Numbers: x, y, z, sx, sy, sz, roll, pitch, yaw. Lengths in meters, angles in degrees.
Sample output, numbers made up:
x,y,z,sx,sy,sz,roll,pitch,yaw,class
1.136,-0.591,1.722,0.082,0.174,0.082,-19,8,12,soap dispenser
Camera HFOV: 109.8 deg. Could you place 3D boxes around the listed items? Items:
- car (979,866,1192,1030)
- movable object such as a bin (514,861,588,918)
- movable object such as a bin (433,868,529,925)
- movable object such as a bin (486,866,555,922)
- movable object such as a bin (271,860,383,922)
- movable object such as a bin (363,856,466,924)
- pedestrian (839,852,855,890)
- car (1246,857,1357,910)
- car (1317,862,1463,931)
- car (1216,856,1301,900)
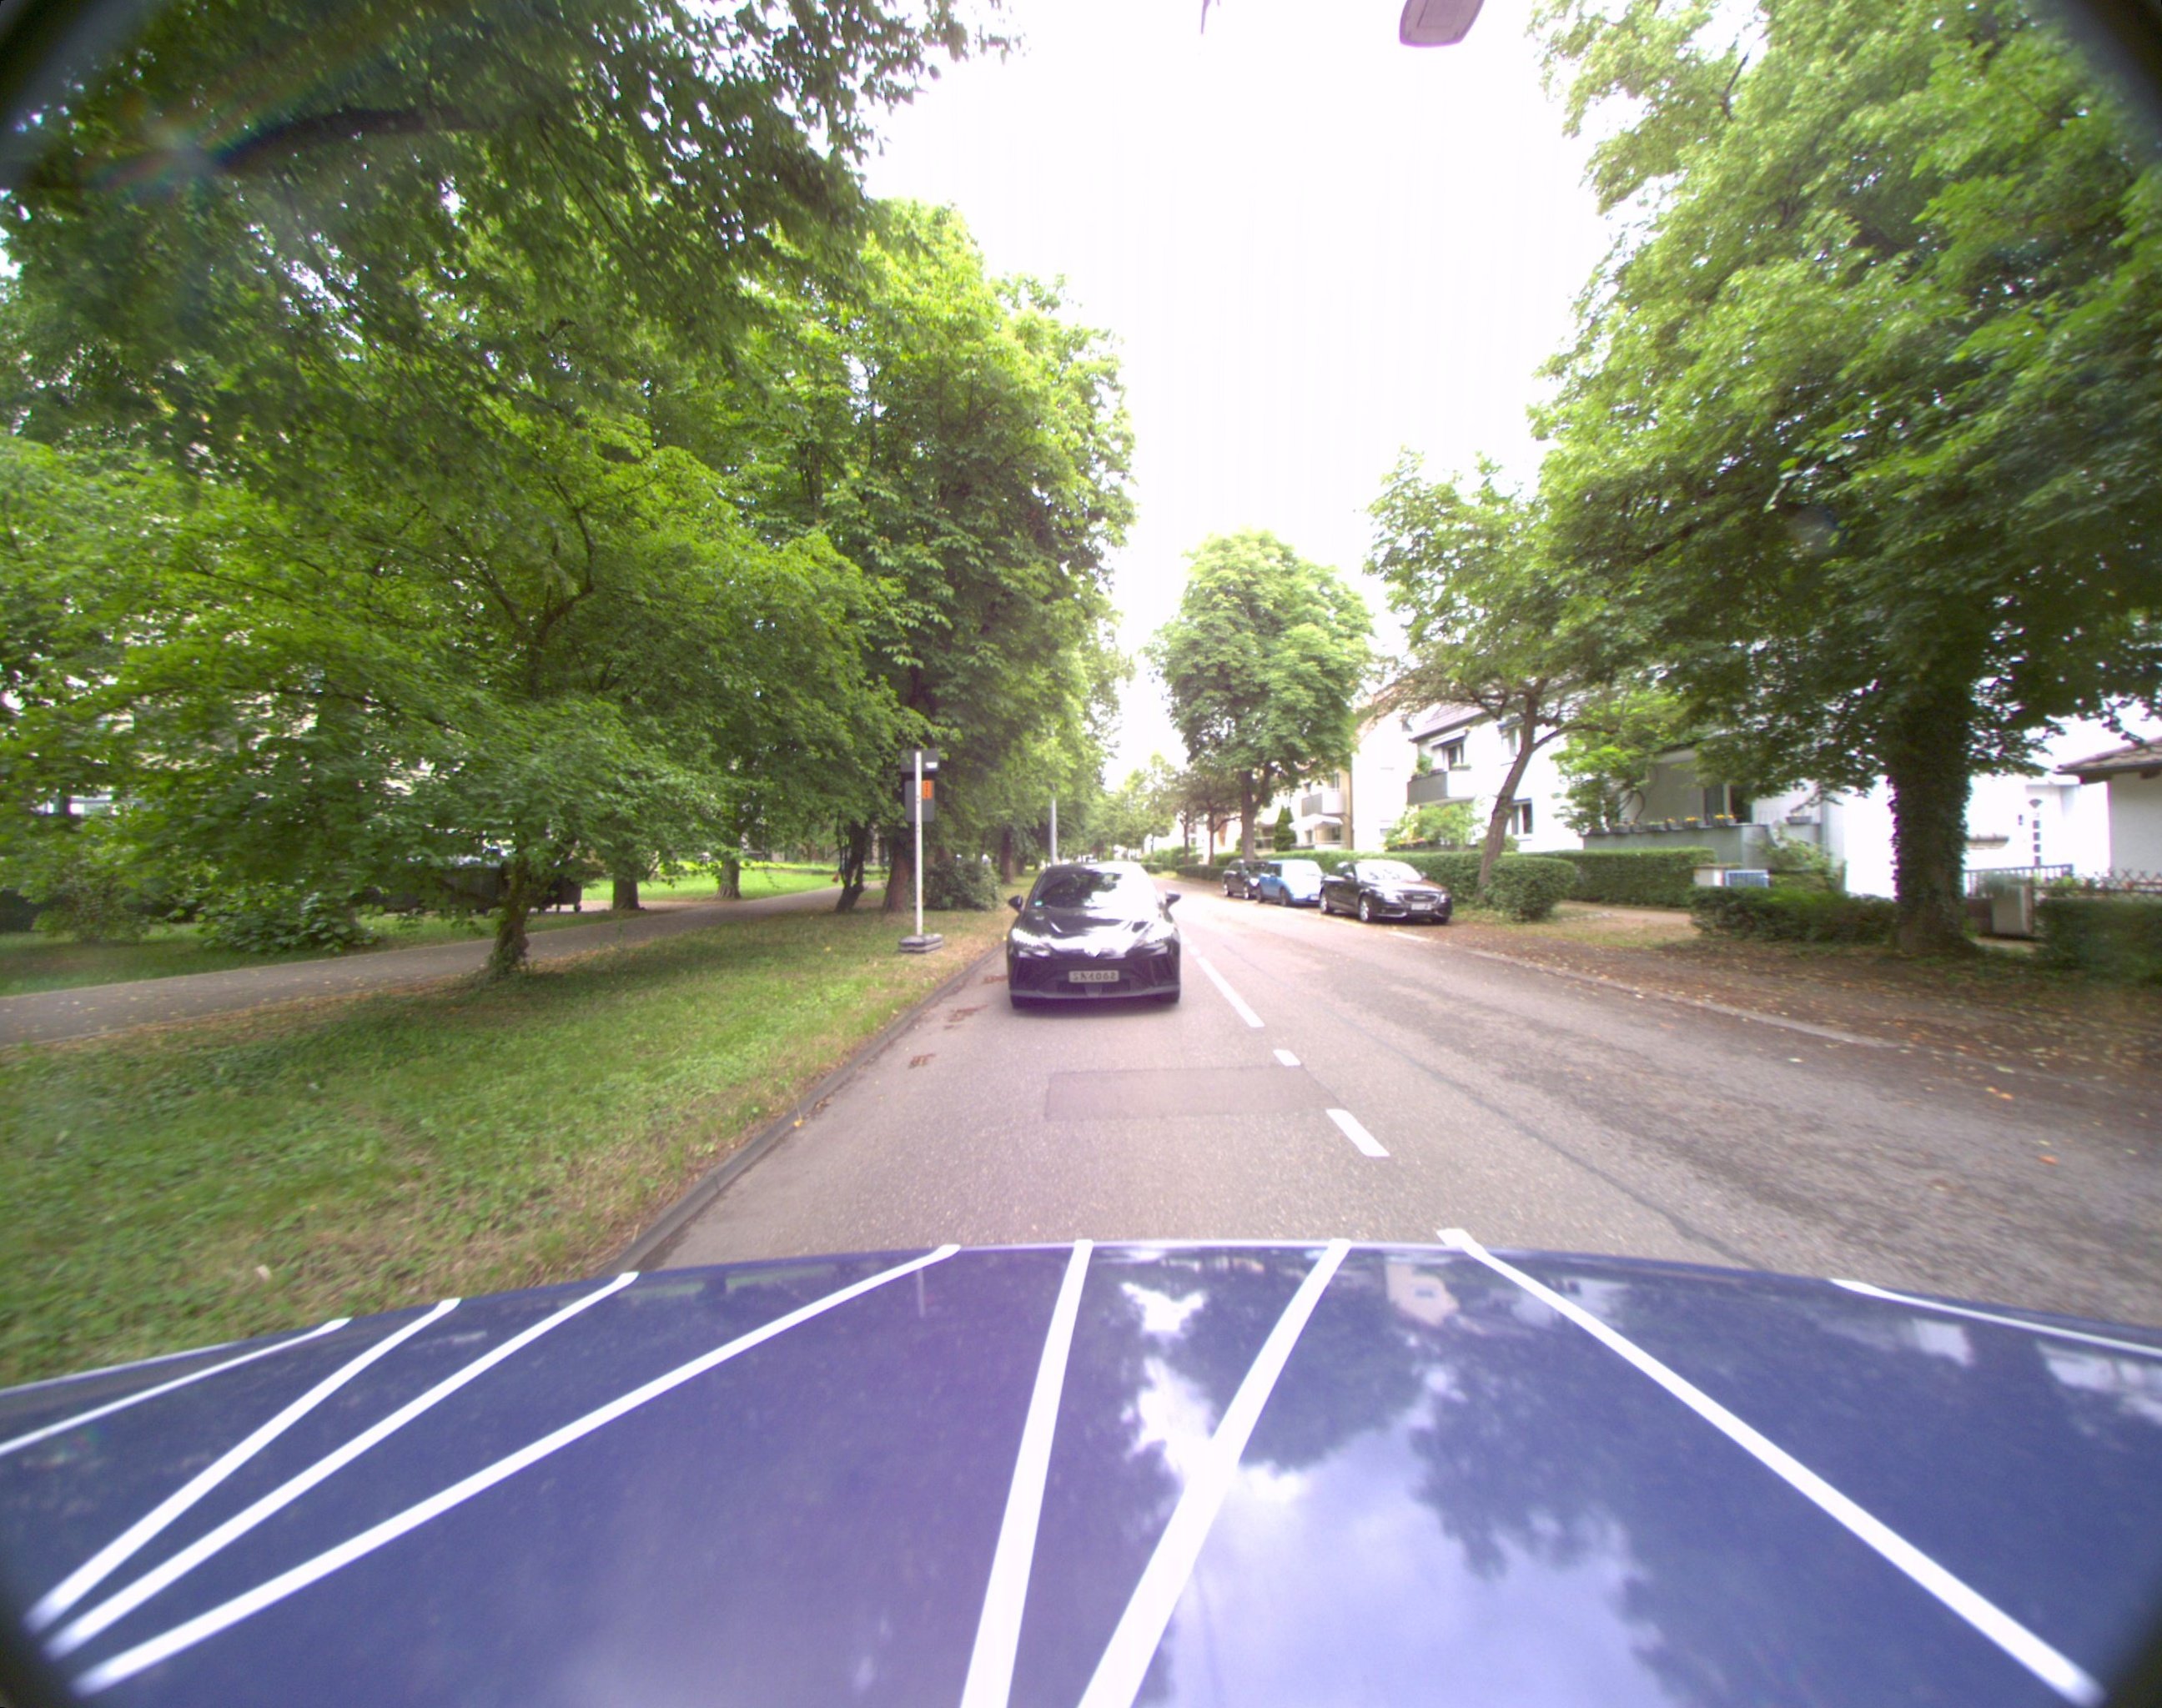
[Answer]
x,y,z,sx,sy,sz,roll,pitch,yaw,class
0.035,0.921,9.446,1.999,1.491,4.615,0,0,0,car
-13.637,0.895,19.591,1.195,1.405,1.110,0,0,-8,movable object such as a bin
-13.615,0.941,17.299,1.195,1.213,1.348,0,0,-8,movable object such as a bin
-13.617,0.957,18.498,1.026,1.296,0.959,0,0,-8,movable object such as a bin
-16.869,0.798,17.055,1.195,1.334,1.348,0,0,-8,movable object such as a bin
-14.928,0.780,17.086,1.195,1.448,1.348,0,0,-8,movable object such as a bin
-10.797,0.774,35.078,0.565,1.730,0.570,1,0,-1,pedestrian
6.754,0.849,23.825,1.889,1.492,4.564,0,0,-4,car
7.043,0.896,17.808,1.735,1.395,4.171,0,0,0,car
6.552,0.842,28.576,1.889,1.524,4.564,0,0,-4,car
